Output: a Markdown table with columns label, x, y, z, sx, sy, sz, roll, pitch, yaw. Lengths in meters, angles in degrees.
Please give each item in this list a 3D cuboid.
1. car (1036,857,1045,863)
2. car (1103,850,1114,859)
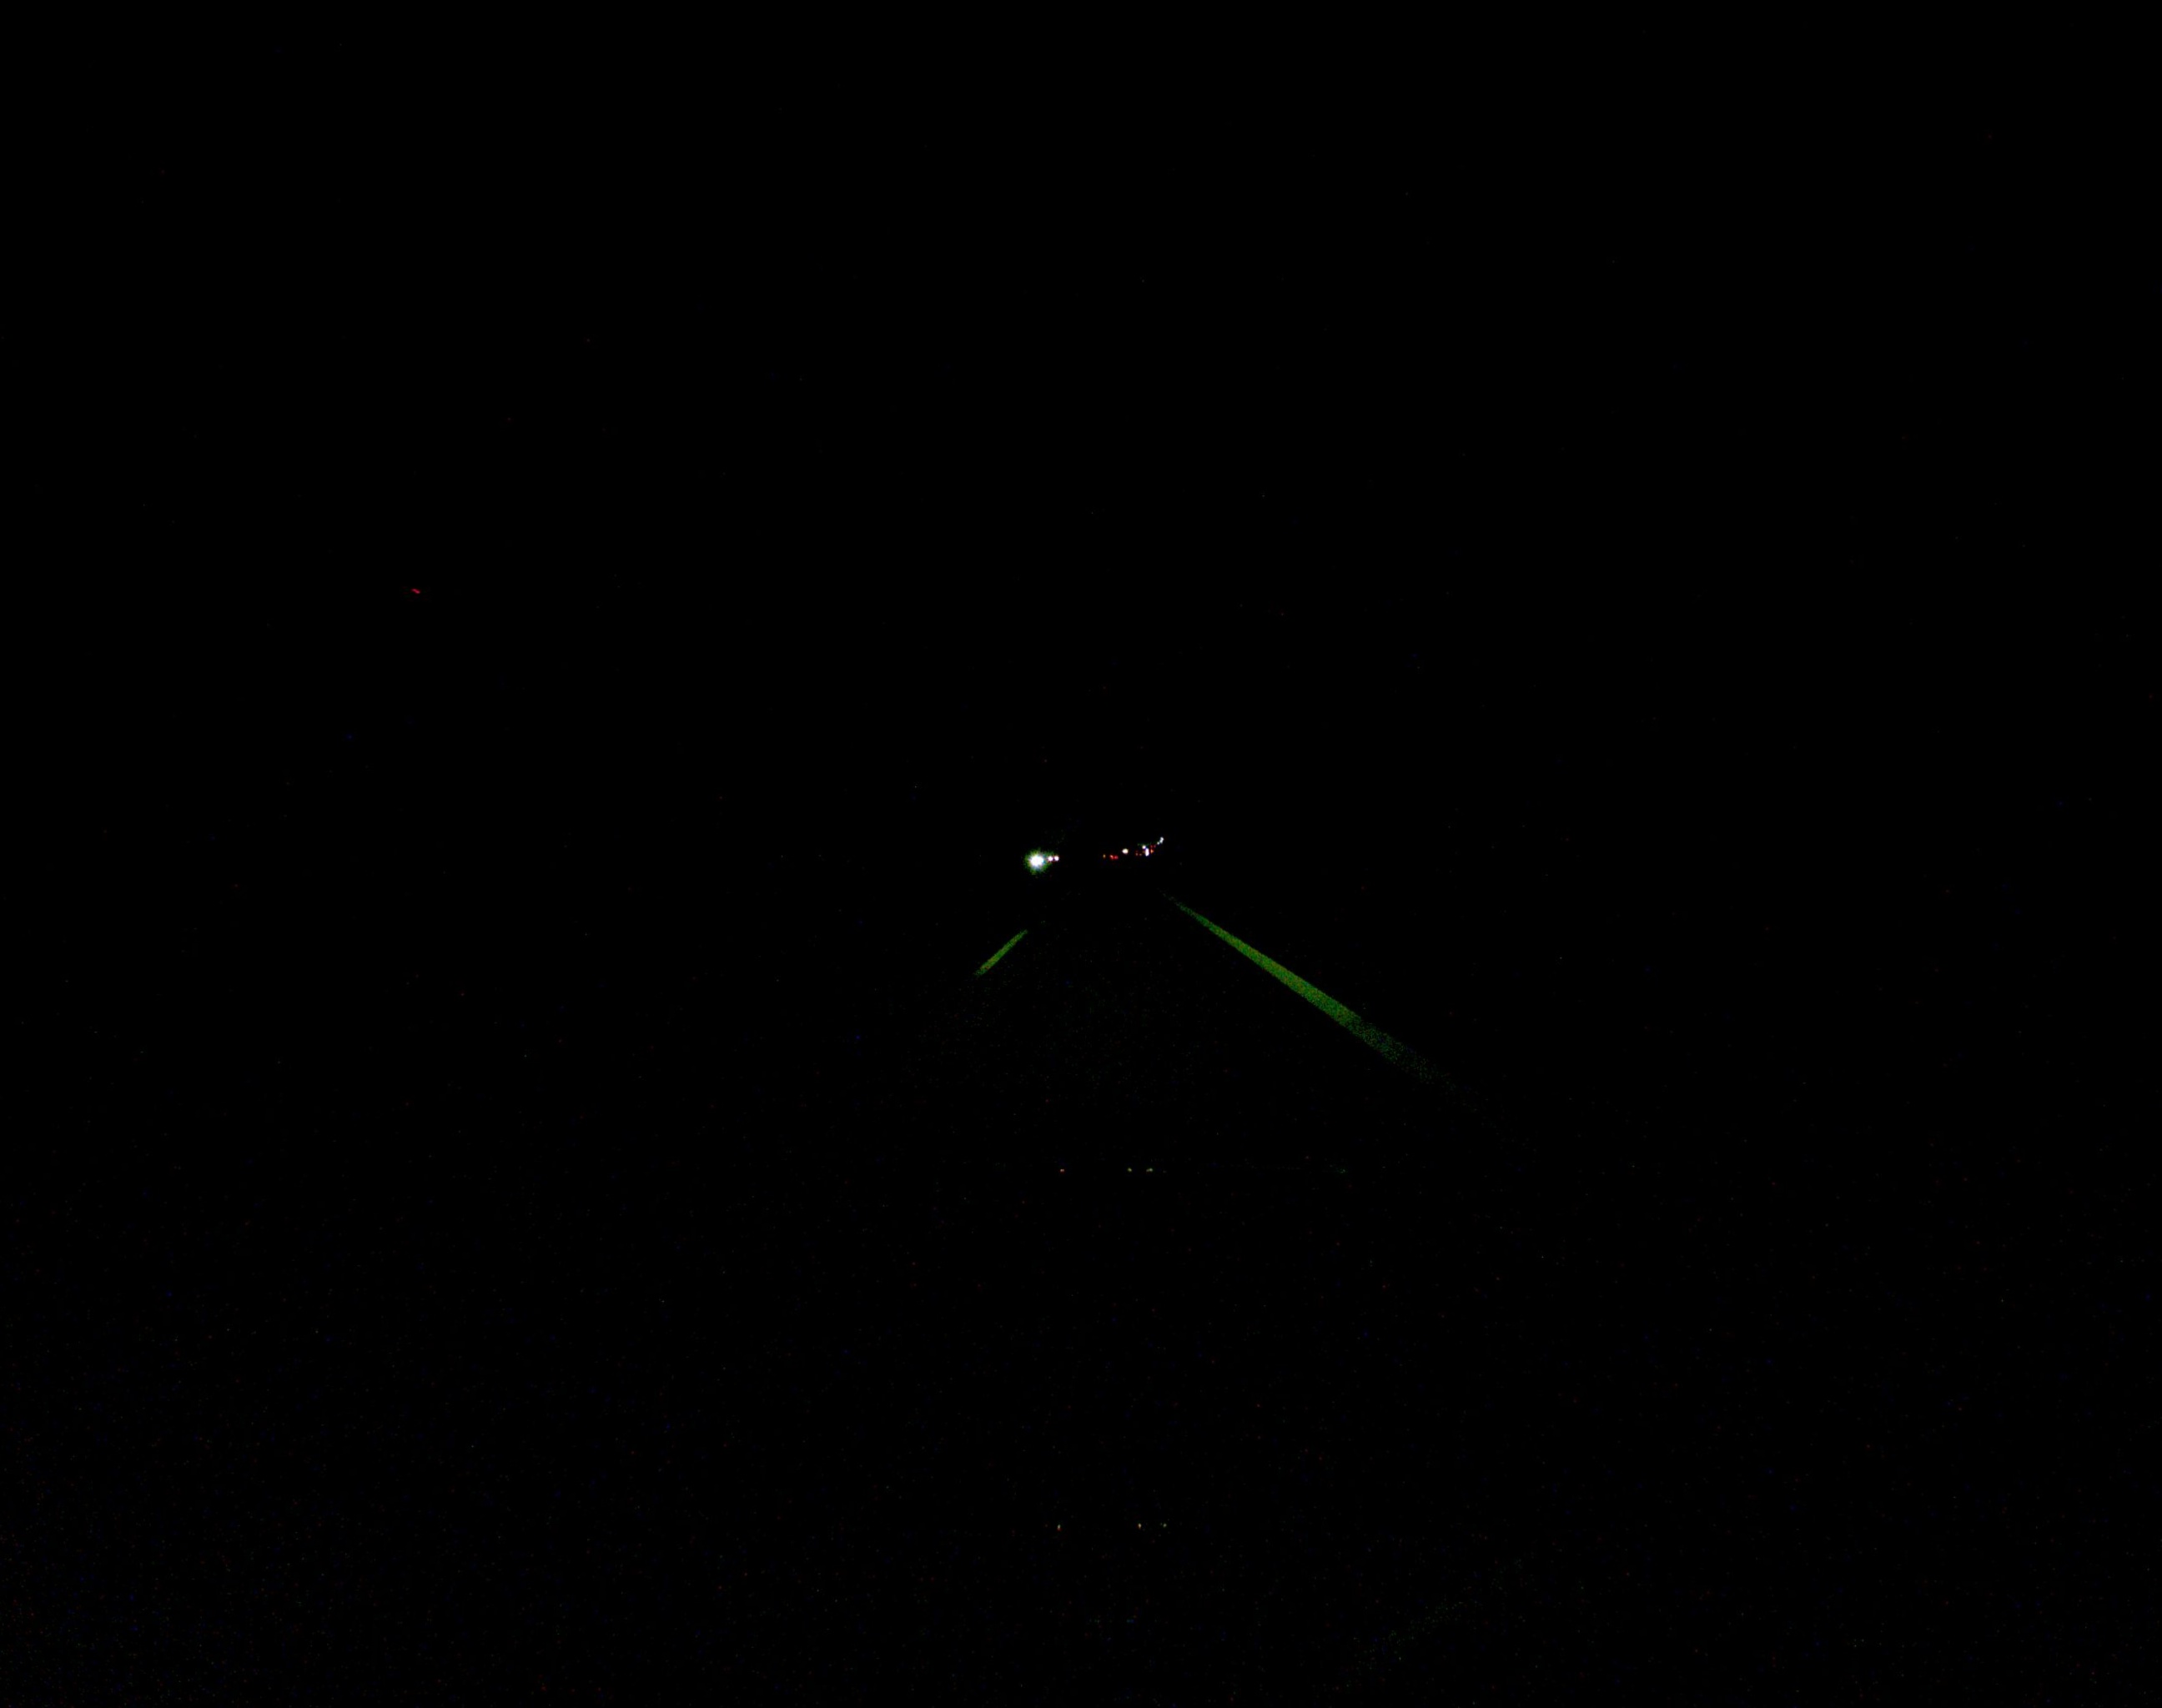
| label | x | y | z | sx | sy | sz | roll | pitch | yaw |
| --- | --- | --- | --- | --- | --- | --- | --- | --- | --- |
| car | -11.319 | 1.558 | 227.202 | 2.044 | 1.598 | 5.078 | -1 | 0 | 1 |
| car | 6.967 | 0.062 | 208.251 | 2.500 | 2.314 | 4.976 | -1 | 0 | 4 |
